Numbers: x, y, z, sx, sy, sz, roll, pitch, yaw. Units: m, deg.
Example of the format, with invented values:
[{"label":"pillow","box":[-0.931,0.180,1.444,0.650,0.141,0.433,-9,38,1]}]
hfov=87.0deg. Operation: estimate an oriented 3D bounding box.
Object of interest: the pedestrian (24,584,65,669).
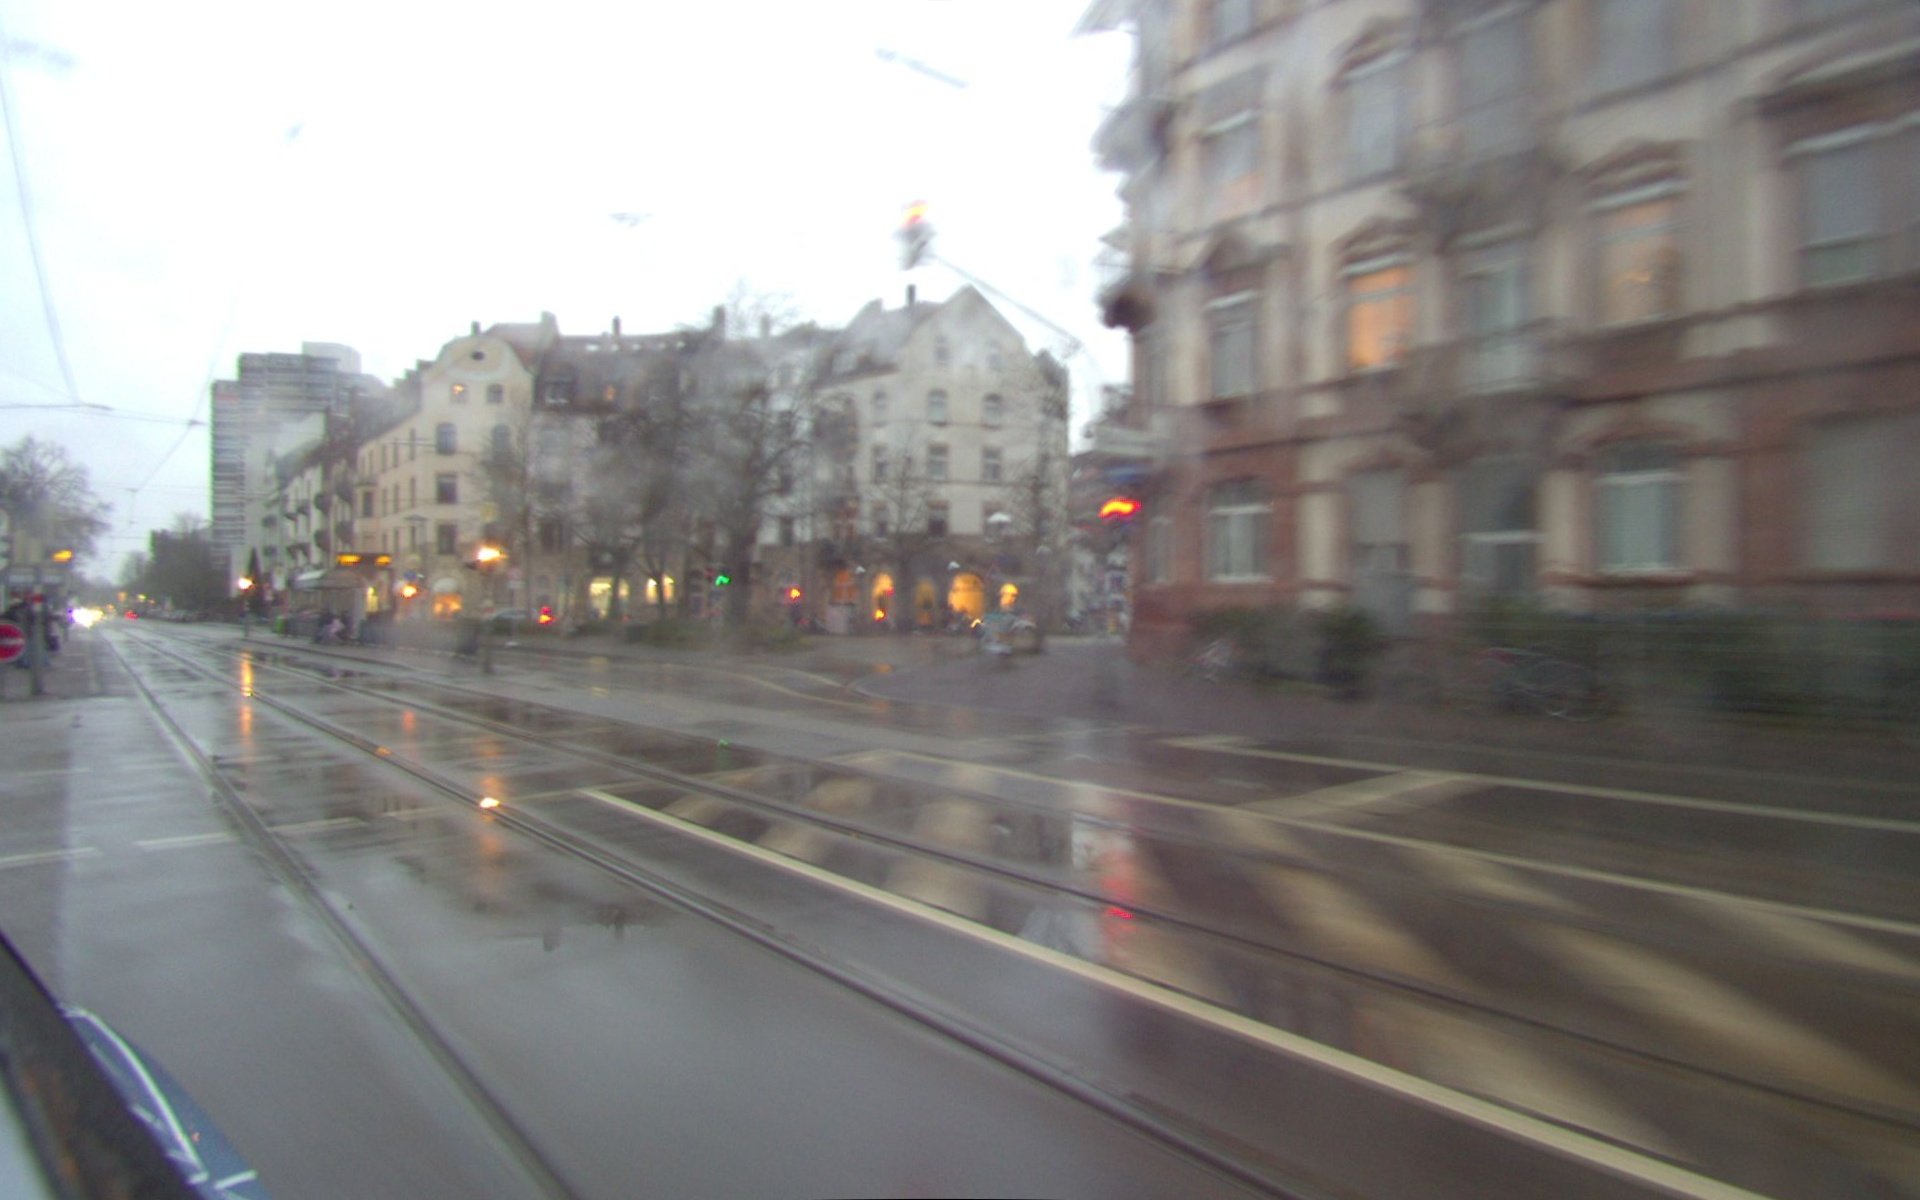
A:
[{"label":"pedestrian","box":[-21.273,0.605,23.508,0.678,1.932,0.718,0,-1,-45]}]

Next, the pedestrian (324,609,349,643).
[{"label":"pedestrian","box":[-23.472,0.961,38.094,0.644,1.227,0.518,-5,3,-42]}]

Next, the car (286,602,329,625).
[{"label":"car","box":[-47.417,0.977,73.519,3.679,1.527,1.654,-1,3,43]}]

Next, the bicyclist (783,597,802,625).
[{"label":"bicyclist","box":[-8.589,0.556,51.773,0.764,1.374,0.524,0,2,35]}]

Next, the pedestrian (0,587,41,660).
[{"label":"pedestrian","box":[-23.092,0.563,24.841,0.649,1.720,0.572,-5,3,-41]}]

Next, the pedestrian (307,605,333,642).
[{"label":"pedestrian","box":[-25.038,0.913,39.599,0.676,1.414,0.579,-5,3,-42]}]

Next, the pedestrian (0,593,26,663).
[{"label":"pedestrian","box":[-25.352,0.734,26.953,0.550,1.821,0.572,-5,3,-41]}]

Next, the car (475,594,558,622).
[{"label":"car","box":[-26.030,0.471,59.541,4.269,1.595,1.943,0,-1,-18]}]

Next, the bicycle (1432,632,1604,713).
[{"label":"bicycle","box":[6.879,0.868,12.569,0.394,0.869,1.852,-2,1,-40]}]

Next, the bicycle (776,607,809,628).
[{"label":"bicycle","box":[-8.577,0.897,51.768,1.807,1.014,0.486,0,1,36]}]

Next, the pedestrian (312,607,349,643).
[{"label":"pedestrian","box":[-23.947,0.953,38.520,1.043,1.263,0.507,-5,3,-42]}]

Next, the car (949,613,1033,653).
[{"label":"car","box":[1.412,1.505,47.249,3.806,1.785,1.881,-1,0,-2]}]

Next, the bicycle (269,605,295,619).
[{"label":"bicycle","box":[-63.939,1.140,95.446,1.961,1.167,0.532,-5,3,-42]}]

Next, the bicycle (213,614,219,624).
[{"label":"bicycle","box":[-82.739,2.107,112.557,0.428,1.014,1.884,0,-1,-40]}]

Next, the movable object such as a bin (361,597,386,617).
[{"label":"movable object such as a bin","box":[-43.890,0.526,75.719,1.333,1.382,1.283,-5,3,-42]}]

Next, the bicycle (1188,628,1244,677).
[{"label":"bicycle","box":[4.689,0.942,18.637,0.395,0.764,1.813,-1,1,-6]}]

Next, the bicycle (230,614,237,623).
[{"label":"bicycle","box":[-73.097,1.862,101.808,0.522,0.896,2.214,0,-1,-37]}]

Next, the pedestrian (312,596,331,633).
[{"label":"pedestrian","box":[-24.728,0.566,39.173,0.467,1.414,0.454,-5,3,-42]}]

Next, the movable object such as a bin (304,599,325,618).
[{"label":"movable object such as a bin","box":[-53.452,0.712,83.746,1.222,1.442,1.075,-5,3,-43]}]
